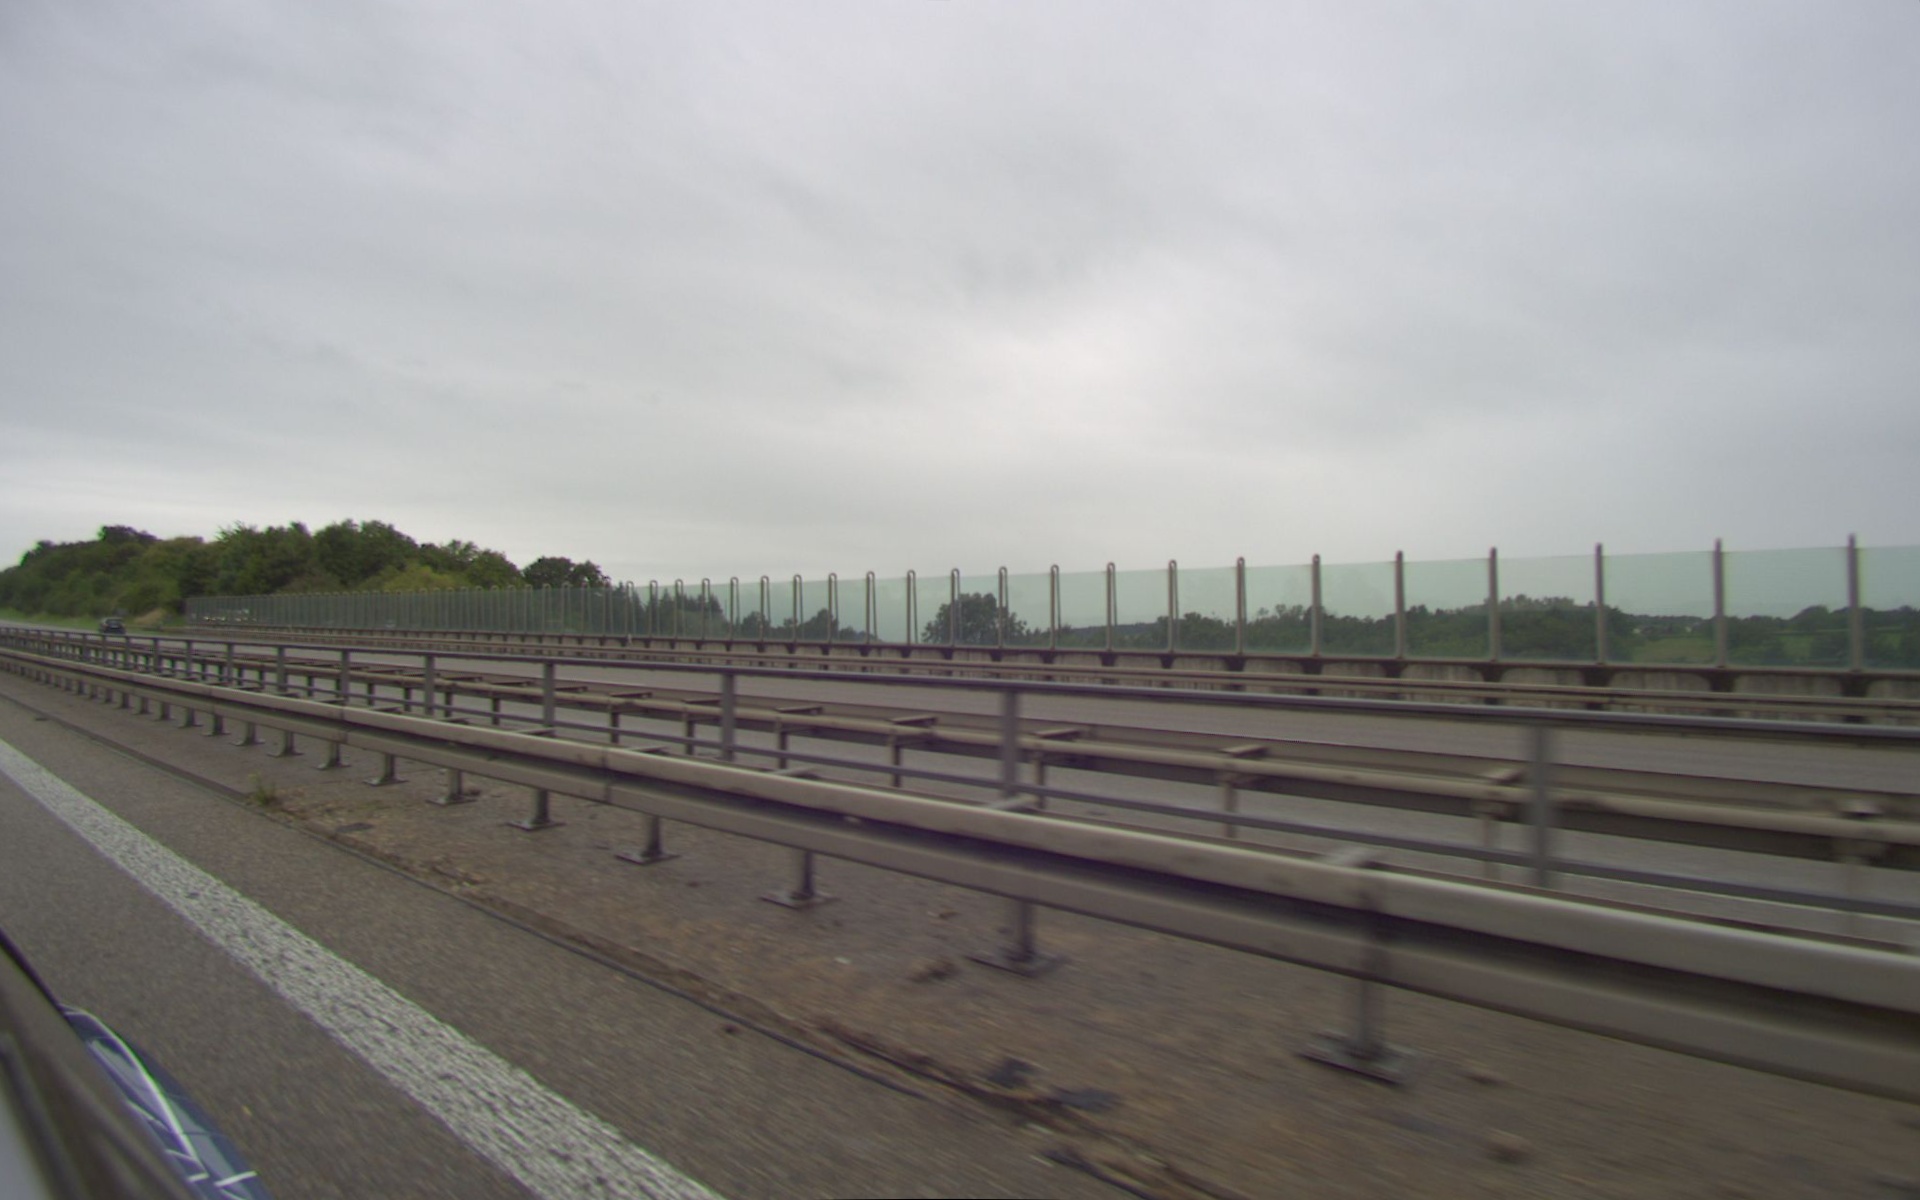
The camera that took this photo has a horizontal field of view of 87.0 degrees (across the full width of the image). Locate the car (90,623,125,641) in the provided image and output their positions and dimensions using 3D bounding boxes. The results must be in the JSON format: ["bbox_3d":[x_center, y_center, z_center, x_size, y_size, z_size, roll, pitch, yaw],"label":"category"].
[{"bbox_3d":[-72.036,2.694,85.478,3.858,1.508,1.666,-1,-2,41],"label":"car"}]
